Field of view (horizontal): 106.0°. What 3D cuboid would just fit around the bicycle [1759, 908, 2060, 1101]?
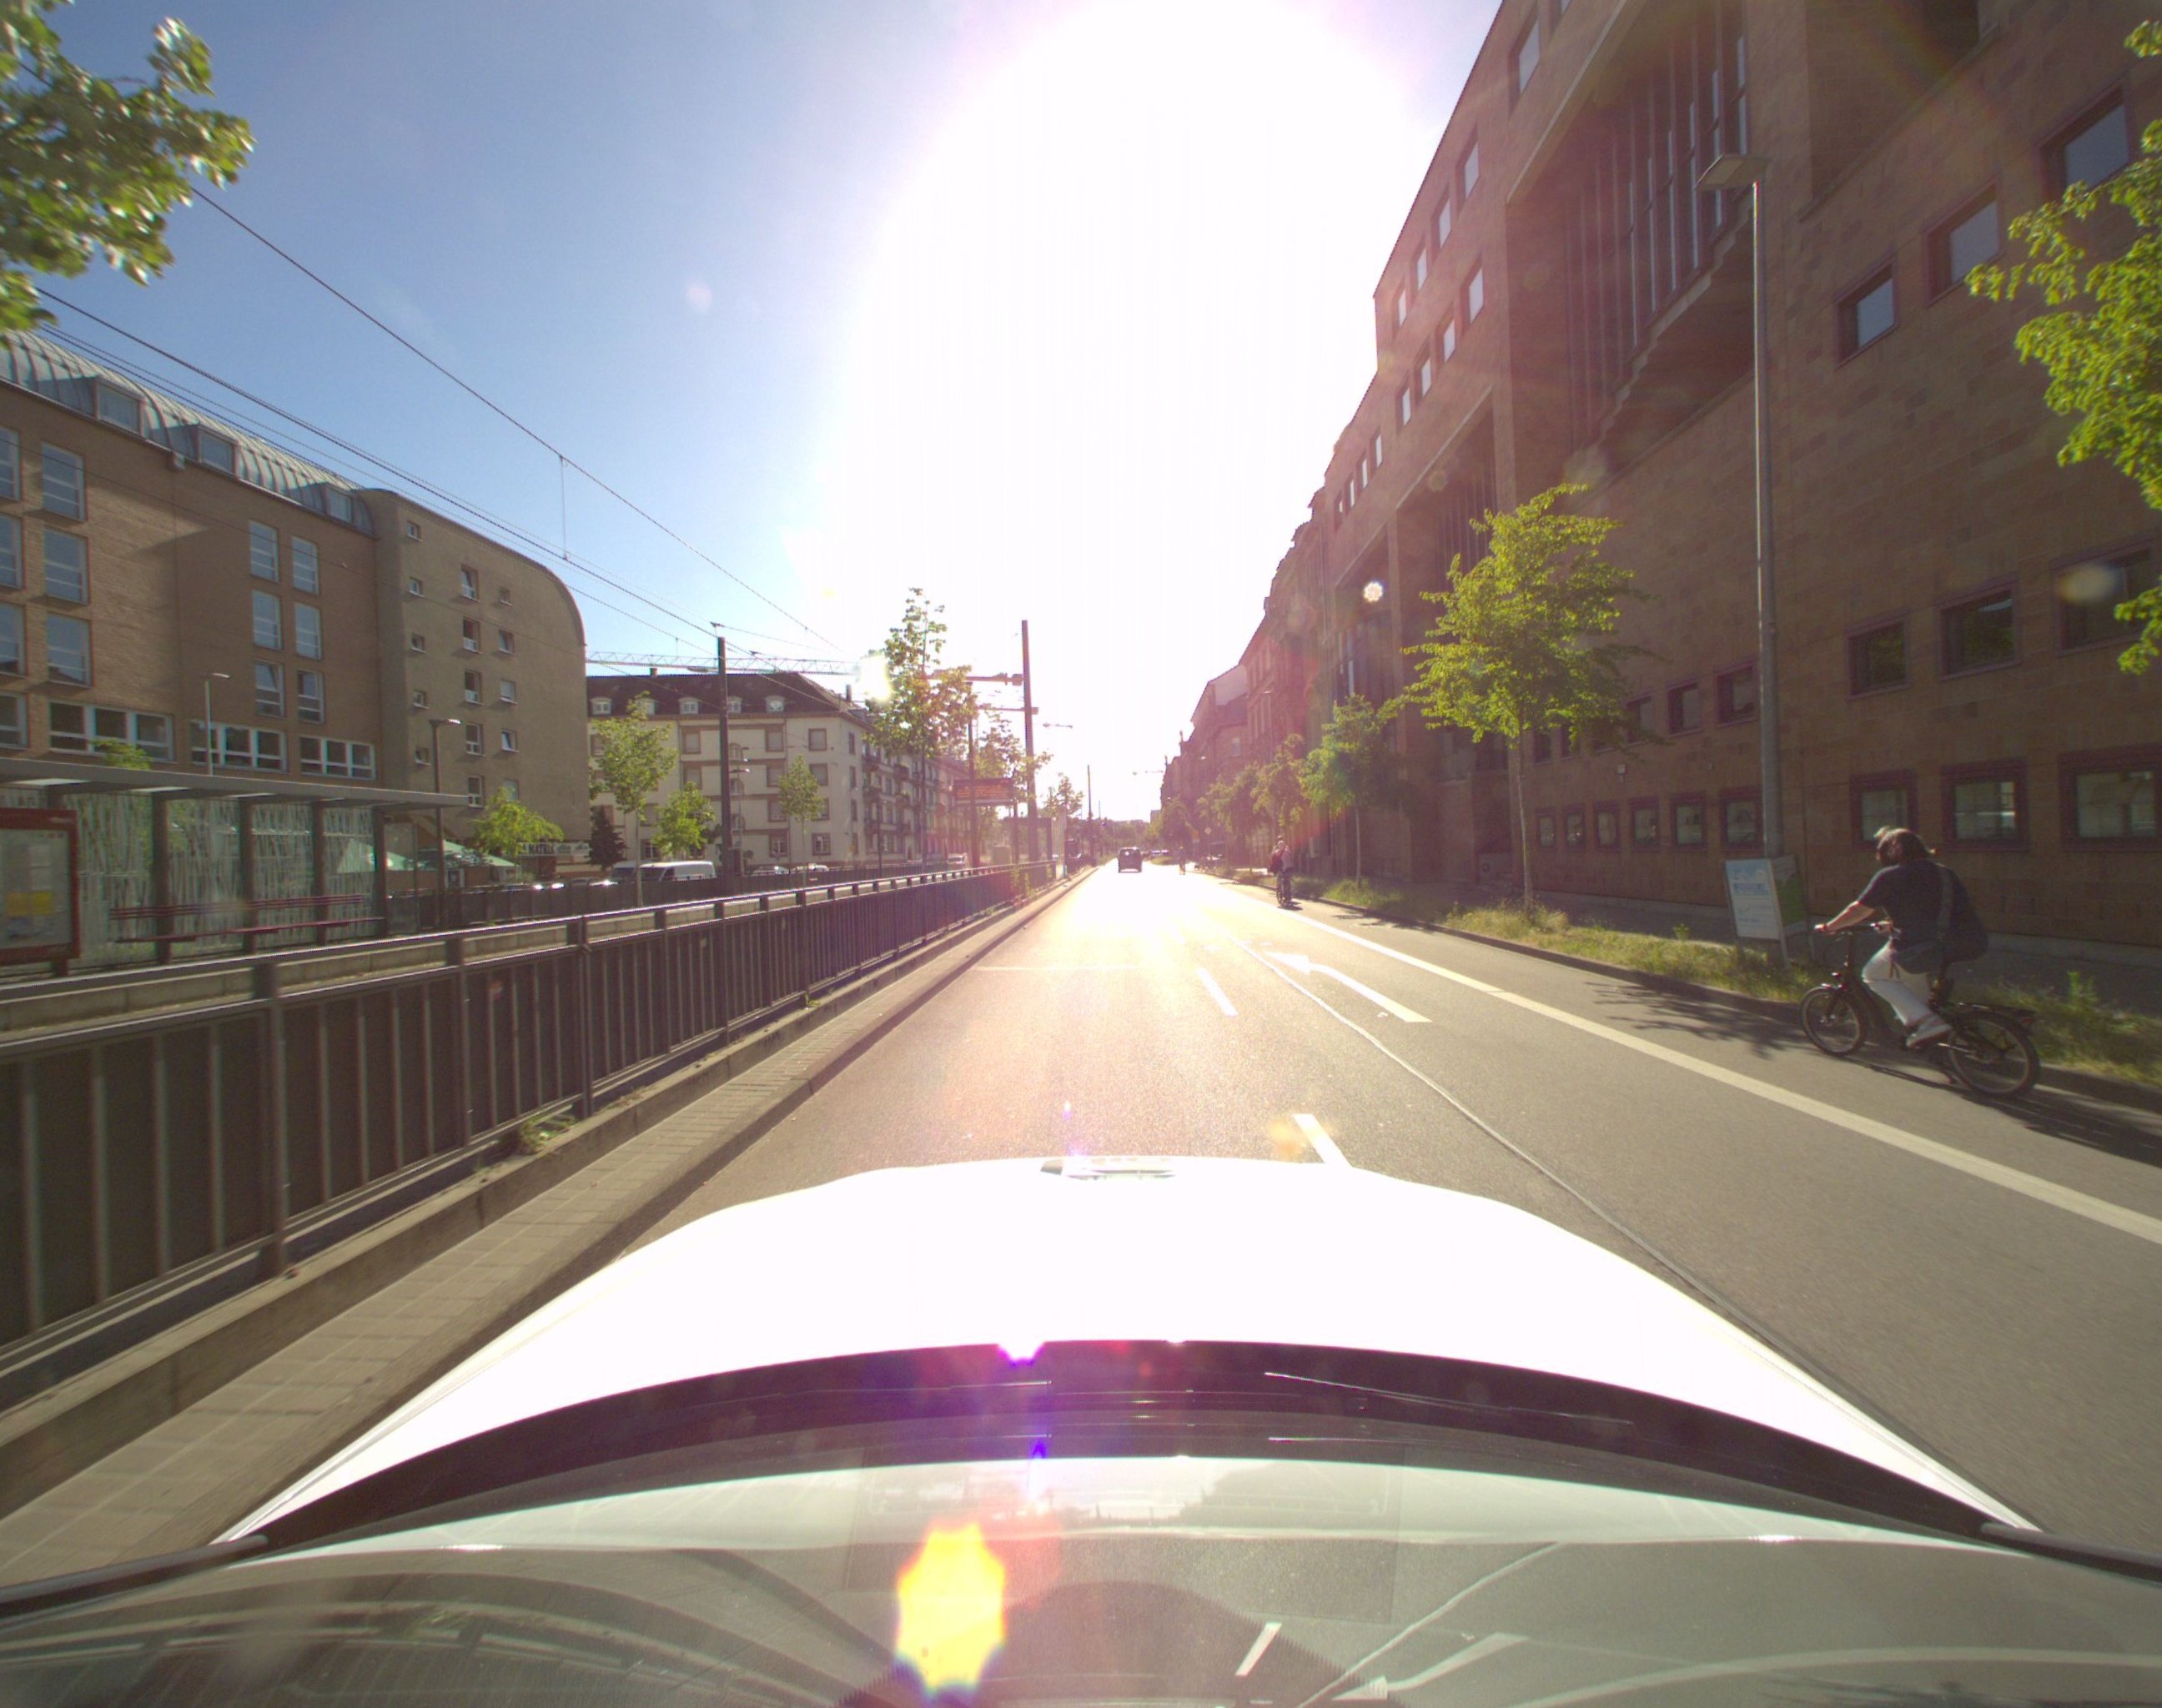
[{"bbox_3d":[5.489,0.934,5.533,0.555,1.027,1.508,0,0,2],"label":"bicycle"}]

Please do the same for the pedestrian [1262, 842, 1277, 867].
[{"bbox_3d":[12.080,0.015,52.160,0.706,1.542,0.927,-2,0,2],"label":"pedestrian"}]

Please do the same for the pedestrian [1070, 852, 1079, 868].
[{"bbox_3d":[-0.627,0.546,76.762,0.809,1.536,0.799,-1,0,4],"label":"pedestrian"}]

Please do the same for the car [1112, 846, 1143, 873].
[{"bbox_3d":[3.544,0.402,62.000,2.191,1.926,4.657,-2,0,3],"label":"car"}]

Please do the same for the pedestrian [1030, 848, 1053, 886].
[{"bbox_3d":[-1.652,0.536,34.225,0.809,1.536,0.799,-2,0,4],"label":"pedestrian"}]

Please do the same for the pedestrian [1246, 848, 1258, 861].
[{"bbox_3d":[16.049,0.010,76.366,0.848,1.214,0.933,-1,0,-4],"label":"pedestrian"}]

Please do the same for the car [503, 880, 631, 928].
[{"bbox_3d":[-17.923,1.711,28.643,1.871,1.464,4.001,-1,-1,2],"label":"car"}]

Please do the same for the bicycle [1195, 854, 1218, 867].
[{"bbox_3d":[9.721,0.508,62.976,1.660,0.944,0.608,-3,0,9],"label":"bicycle"}]

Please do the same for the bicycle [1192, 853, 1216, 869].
[{"bbox_3d":[9.178,0.522,60.850,1.715,1.100,0.608,-5,0,6],"label":"bicycle"}]

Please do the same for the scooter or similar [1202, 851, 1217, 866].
[{"bbox_3d":[10.133,0.354,64.373,1.104,1.189,0.420,-3,0,9],"label":"scooter or similar"}]

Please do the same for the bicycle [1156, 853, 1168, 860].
[{"bbox_3d":[11.966,0.344,120.073,1.785,1.030,0.528,-2,0,2],"label":"bicycle"}]

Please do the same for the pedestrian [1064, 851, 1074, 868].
[{"bbox_3d":[-1.120,0.513,77.875,0.861,1.536,0.910,-1,0,3],"label":"pedestrian"}]

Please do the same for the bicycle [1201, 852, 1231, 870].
[{"bbox_3d":[9.591,0.470,57.964,1.986,1.128,0.710,-5,0,3],"label":"bicycle"}]

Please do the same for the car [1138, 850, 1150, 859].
[{"bbox_3d":[11.151,0.031,144.874,2.020,1.499,4.657,-2,0,3],"label":"car"}]

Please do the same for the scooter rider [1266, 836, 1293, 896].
[{"bbox_3d":[6.334,0.373,26.062,0.664,1.860,0.901,0,0,2],"label":"scooter rider"}]

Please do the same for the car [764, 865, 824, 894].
[{"bbox_3d":[-17.245,1.497,49.145,1.985,1.684,4.003,-1,-1,3],"label":"car"}]

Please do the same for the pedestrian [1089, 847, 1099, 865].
[{"bbox_3d":[1.282,0.231,81.983,0.863,1.788,0.969,-1,0,-4],"label":"pedestrian"}]

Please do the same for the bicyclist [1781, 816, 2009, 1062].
[{"bbox_3d":[5.485,0.530,5.553,0.655,1.537,0.910,0,0,2],"label":"bicyclist"}]

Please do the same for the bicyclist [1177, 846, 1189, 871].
[{"bbox_3d":[6.925,0.293,55.345,0.681,1.673,0.922,0,0,2],"label":"bicyclist"}]

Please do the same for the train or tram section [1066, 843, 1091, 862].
[{"bbox_3d":[-0.315,-0.186,124.194,2.743,2.743,9.877,-1,-1,5],"label":"train or tram section"}]

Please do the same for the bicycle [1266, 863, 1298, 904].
[{"bbox_3d":[5.767,0.825,23.416,0.555,1.092,1.793,0,0,2],"label":"bicycle"}]

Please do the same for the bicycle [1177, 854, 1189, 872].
[{"bbox_3d":[6.902,0.623,55.158,0.599,1.181,1.870,0,0,2],"label":"bicycle"}]

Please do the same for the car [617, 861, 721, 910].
[{"bbox_3d":[-22.482,1.635,44.783,1.981,2.369,5.662,-2,0,10],"label":"car"}]

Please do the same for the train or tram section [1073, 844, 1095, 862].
[{"bbox_3d":[0.559,-0.101,134.061,2.743,2.743,9.877,-1,-1,5],"label":"train or tram section"}]

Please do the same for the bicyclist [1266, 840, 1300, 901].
[{"bbox_3d":[5.777,0.471,23.355,0.776,1.711,0.869,0,0,2],"label":"bicyclist"}]

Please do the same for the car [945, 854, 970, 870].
[{"bbox_3d":[-13.887,0.920,91.795,1.812,1.794,4.094,-1,-1,4],"label":"car"}]

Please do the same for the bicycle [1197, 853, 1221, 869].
[{"bbox_3d":[9.324,0.532,59.287,1.592,1.045,0.608,-5,0,6],"label":"bicycle"}]

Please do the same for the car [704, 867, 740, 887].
[{"bbox_3d":[-30.198,1.942,68.679,1.684,1.521,3.665,-2,0,-6],"label":"car"}]

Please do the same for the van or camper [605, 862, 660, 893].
[{"bbox_3d":[-37.570,1.938,68.421,1.993,2.401,5.939,-2,0,-8],"label":"van or camper"}]

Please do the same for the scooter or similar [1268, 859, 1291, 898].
[{"bbox_3d":[6.344,0.768,26.041,0.489,1.226,1.171,0,0,2],"label":"scooter or similar"}]

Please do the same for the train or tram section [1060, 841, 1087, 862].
[{"bbox_3d":[-0.953,-0.274,114.358,2.743,2.743,9.877,-1,-1,5],"label":"train or tram section"}]

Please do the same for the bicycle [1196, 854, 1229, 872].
[{"bbox_3d":[9.137,0.598,56.606,1.993,1.092,0.845,-5,0,-7],"label":"bicycle"}]

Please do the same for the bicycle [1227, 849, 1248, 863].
[{"bbox_3d":[14.388,0.211,75.035,1.808,1.171,0.655,-2,3,6],"label":"bicycle"}]
